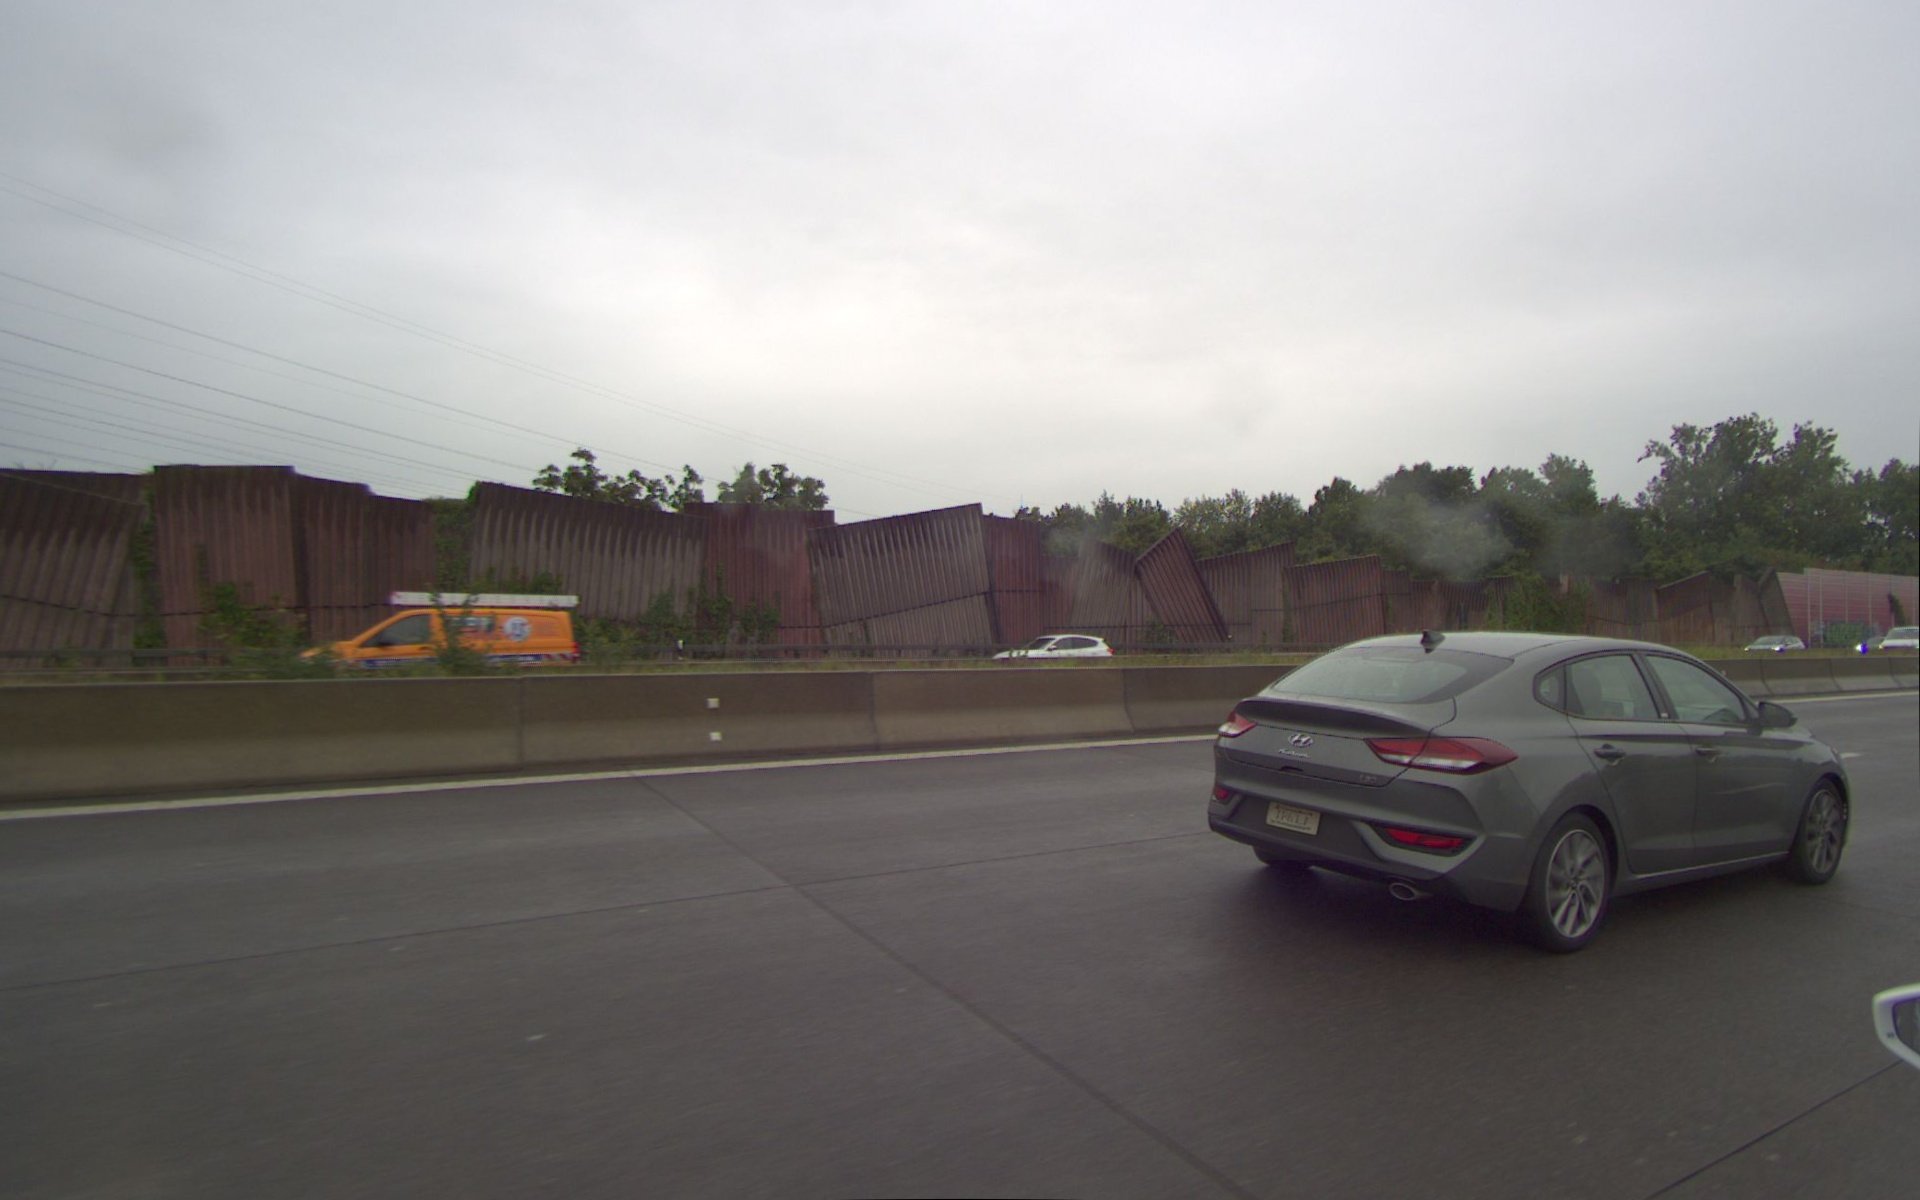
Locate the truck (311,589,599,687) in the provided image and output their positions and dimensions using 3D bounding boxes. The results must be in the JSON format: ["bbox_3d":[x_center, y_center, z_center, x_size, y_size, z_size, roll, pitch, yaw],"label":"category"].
[{"bbox_3d":[-10.057,0.744,20.289,4.956,1.762,1.984,1,-1,-30],"label":"truck"}]

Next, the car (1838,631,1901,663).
[{"bbox_3d":[60.570,3.089,66.885,3.952,2.040,1.984,1,-1,-30],"label":"car"}]

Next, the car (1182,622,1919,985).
[{"bbox_3d":[3.703,0.880,5.998,4.772,1.421,1.717,1,0,-31],"label":"car"}]

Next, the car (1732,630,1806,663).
[{"bbox_3d":[46.942,2.661,58.278,4.241,1.808,1.983,1,-1,-31],"label":"car"}]

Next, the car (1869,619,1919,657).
[{"bbox_3d":[48.327,1.908,50.875,5.150,1.808,1.983,1,-1,-31],"label":"car"}]

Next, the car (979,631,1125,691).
[{"bbox_3d":[2.997,1.923,32.511,4.345,1.762,1.985,1,-1,-30],"label":"car"}]
